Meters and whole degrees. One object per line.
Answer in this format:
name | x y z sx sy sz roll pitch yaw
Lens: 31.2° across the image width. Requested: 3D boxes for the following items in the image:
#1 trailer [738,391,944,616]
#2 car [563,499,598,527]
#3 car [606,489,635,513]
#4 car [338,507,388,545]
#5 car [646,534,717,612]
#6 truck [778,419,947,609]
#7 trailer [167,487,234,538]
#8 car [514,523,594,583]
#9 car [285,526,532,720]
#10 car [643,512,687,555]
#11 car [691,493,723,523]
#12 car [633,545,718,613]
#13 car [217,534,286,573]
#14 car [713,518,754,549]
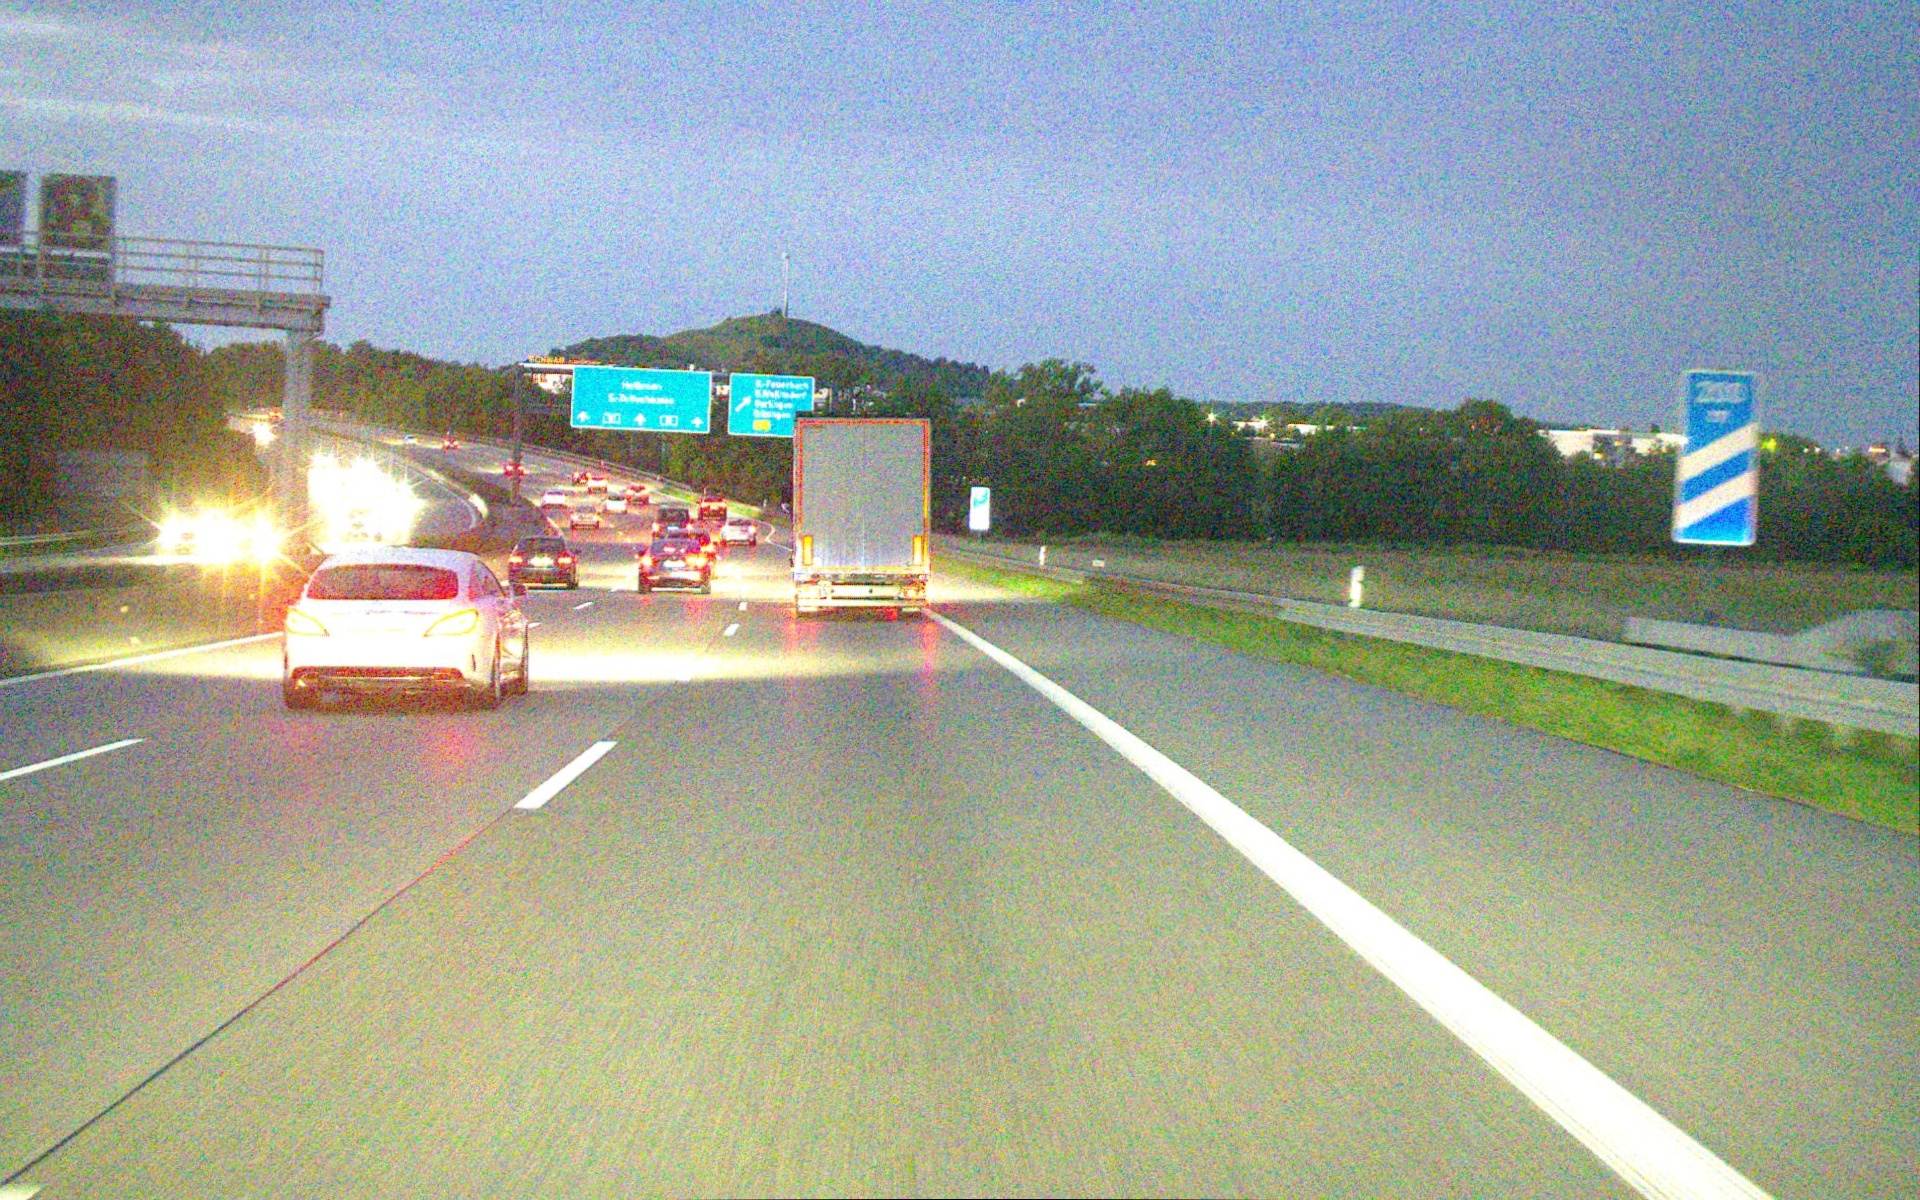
trailer | -2.244 -1.846 71.126 3.550 4.102 15.063 1 0 0
car | -23.347 -5.345 211.429 1.993 1.616 4.001 1 1 -5
car | -25.142 -7.322 254.516 1.993 1.616 4.001 1 1 -8
car | -30.471 -3.757 175.613 1.912 1.861 6.017 1 1 -4
car | -8.806 -0.861 108.990 1.993 2.372 4.000 1 1 -1
truck | -2.144 -1.909 78.152 3.550 4.077 6.151 1 0 0
trailer | -31.456 -3.612 142.484 1.912 1.996 4.241 3 1 -2
car | -11.175 -1.299 94.795 1.761 1.569 4.577 1 1 -2
car | -4.983 0.158 31.618 1.906 1.609 4.805 1 1 -6
car | -14.374 -3.237 167.472 1.993 2.007 4.001 1 1 -6
car | -17.560 -6.380 238.467 1.993 1.971 4.001 1 1 -7
car | -7.383 -0.555 89.582 2.065 1.680 4.577 1 1 -4
car | -25.949 -1.697 125.974 1.689 1.349 4.898 1 1 -2
car | -11.524 -3.363 174.815 1.993 1.529 4.001 1 1 -5
